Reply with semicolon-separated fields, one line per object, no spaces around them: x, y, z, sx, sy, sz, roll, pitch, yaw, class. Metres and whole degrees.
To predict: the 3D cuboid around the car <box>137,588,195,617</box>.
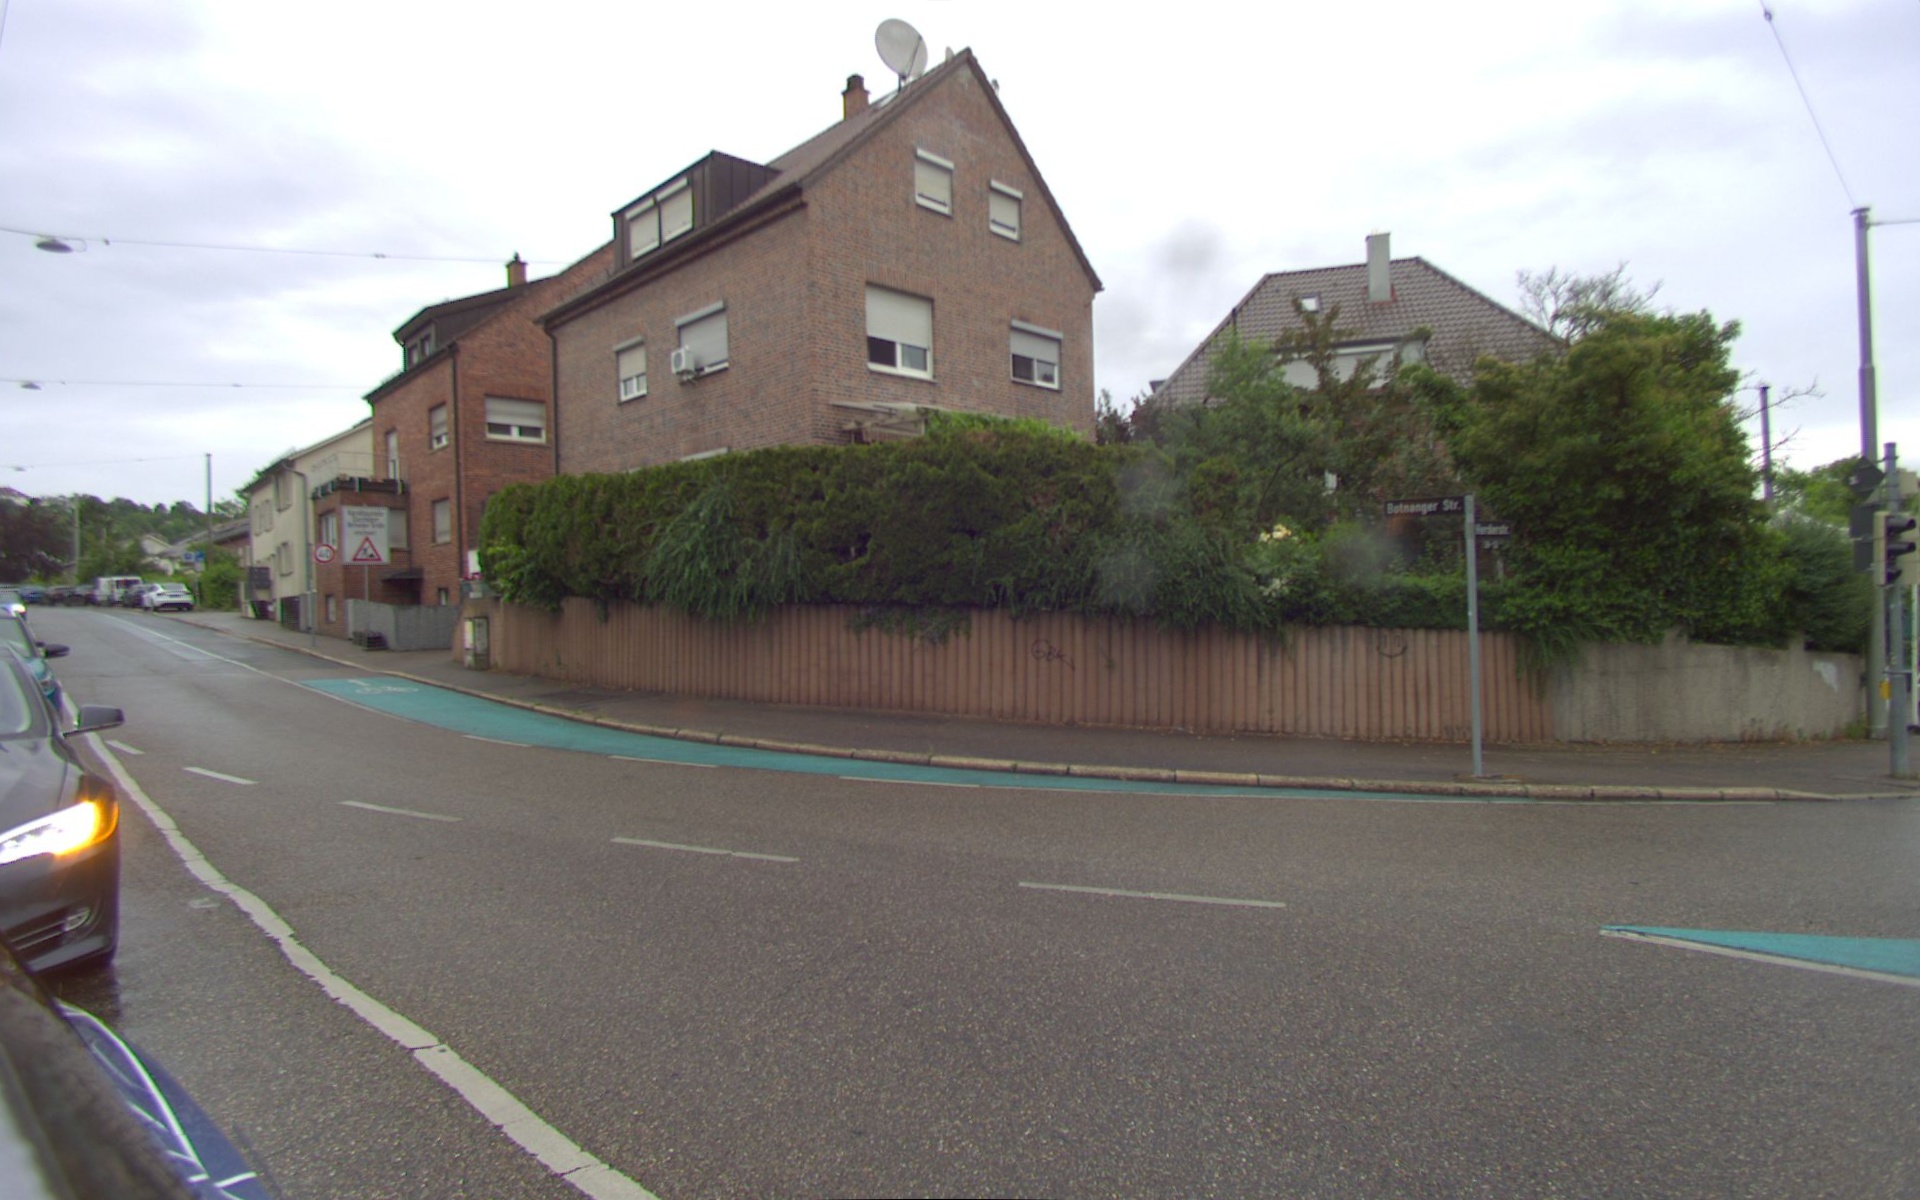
-46.424;0.143;59.121;4.262;1.577;1.921;0;2;42;car

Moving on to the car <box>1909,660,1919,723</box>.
25.771;2.281;24.594;1.837;1.644;4.297;-1;-3;11;car

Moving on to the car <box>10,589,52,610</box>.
-71.056;-0.014;77.366;3.895;1.501;1.605;-1;2;36;car

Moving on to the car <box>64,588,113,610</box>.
-61.559;-0.066;71.464;4.002;1.501;1.636;-1;2;34;car

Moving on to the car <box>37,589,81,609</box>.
-66.577;-0.052;74.763;3.854;1.407;1.635;-1;2;36;car

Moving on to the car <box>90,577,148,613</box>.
-57.020;-0.342;68.571;4.544;2.303;2.229;0;2;41;car

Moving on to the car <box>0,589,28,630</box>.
-43.955;0.474;46.269;4.001;1.744;1.792;-3;-2;44;car

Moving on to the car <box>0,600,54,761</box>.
-11.233;0.801;11.061;3.785;1.601;1.765;0;0;45;car

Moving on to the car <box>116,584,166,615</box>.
-52.374;-0.031;64.714;4.262;1.817;1.791;0;2;42;car

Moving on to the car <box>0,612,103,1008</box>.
-5.399;0.793;4.692;4.002;1.426;1.845;0;0;45;car
